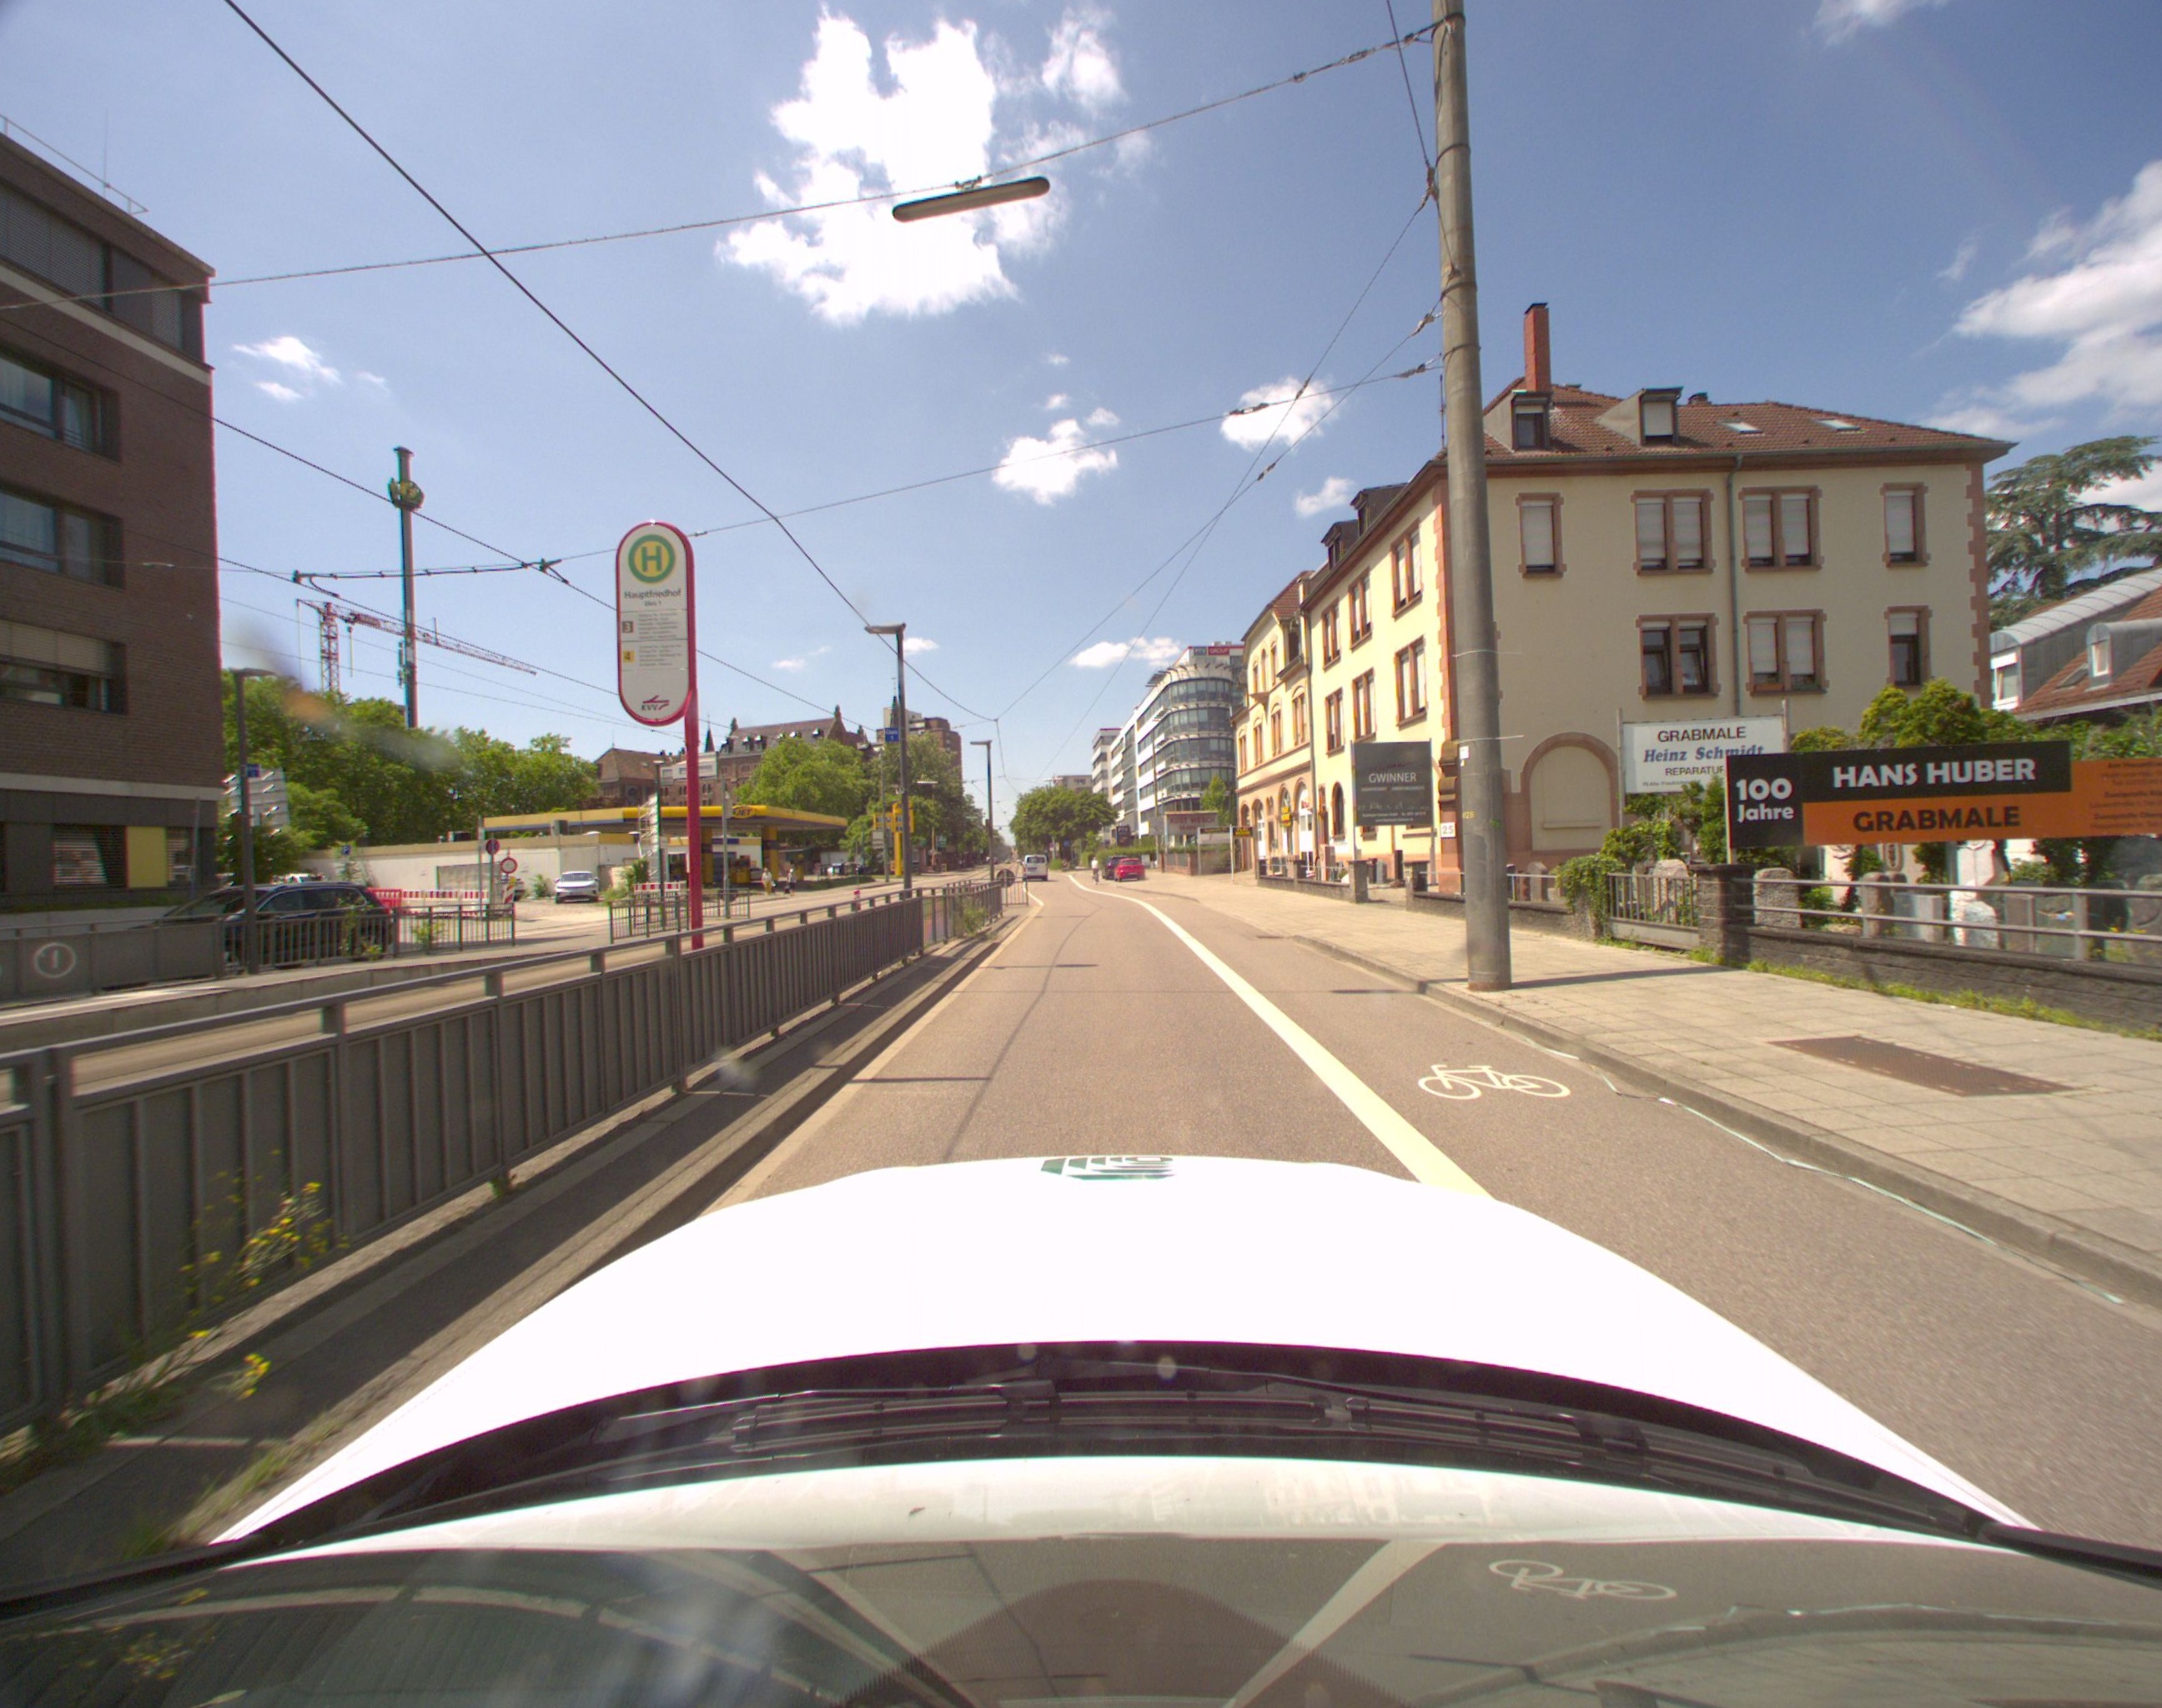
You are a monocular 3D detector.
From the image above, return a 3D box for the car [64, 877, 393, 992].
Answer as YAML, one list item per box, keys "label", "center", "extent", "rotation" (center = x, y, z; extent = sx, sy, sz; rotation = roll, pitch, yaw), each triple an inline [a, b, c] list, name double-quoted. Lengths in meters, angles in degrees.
- label: "car"
  center: [-14.964, 1.311, 14.661]
  extent: [1.830, 1.627, 3.773]
  rotation: [-4, -1, 1]

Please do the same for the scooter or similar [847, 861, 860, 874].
- label: "scooter or similar"
  center: [-26.014, 1.533, 93.112]
  extent: [1.168, 1.466, 1.059]
  rotation: [-2, -1, 1]

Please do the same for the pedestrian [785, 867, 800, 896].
- label: "pedestrian"
  center: [-16.982, 1.623, 47.943]
  extent: [0.578, 1.671, 0.668]
  rotation: [-2, 0, 4]

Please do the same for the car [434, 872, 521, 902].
- label: "car"
  center: [-32.901, 1.815, 44.425]
  extent: [3.972, 1.463, 1.767]
  rotation: [-2, 0, 17]

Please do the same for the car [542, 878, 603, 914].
- label: "car"
  center: [-25.924, 2.155, 41.471]
  extent: [2.068, 1.567, 3.953]
  rotation: [-3, -1, -39]

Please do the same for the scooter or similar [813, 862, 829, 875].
- label: "scooter or similar"
  center: [-29.997, 1.661, 93.944]
  extent: [1.307, 1.466, 1.061]
  rotation: [-3, 0, 7]

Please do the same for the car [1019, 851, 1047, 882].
- label: "car"
  center: [-3.455, 0.881, 58.146]
  extent: [1.750, 2.013, 3.993]
  rotation: [-3, 1, -5]

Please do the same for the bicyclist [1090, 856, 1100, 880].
- label: "bicyclist"
  center: [0.847, 0.834, 49.419]
  extent: [0.589, 1.397, 0.841]
  rotation: [-2, 0, -1]

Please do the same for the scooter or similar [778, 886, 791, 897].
- label: "scooter or similar"
  center: [-17.584, 2.212, 48.327]
  extent: [0.474, 0.581, 0.632]
  rotation: [-2, 0, 6]

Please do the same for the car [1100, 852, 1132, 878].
- label: "car"
  center: [2.502, 0.777, 59.150]
  extent: [1.858, 1.687, 4.997]
  rotation: [-3, 0, -2]

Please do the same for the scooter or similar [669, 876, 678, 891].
- label: "scooter or similar"
  center: [-26.088, 1.900, 52.102]
  extent: [0.404, 0.930, 0.327]
  rotation: [-2, 0, -2]

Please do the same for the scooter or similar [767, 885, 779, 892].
- label: "scooter or similar"
  center: [-18.464, 2.085, 48.843]
  extent: [0.471, 0.394, 0.673]
  rotation: [-2, 0, 3]

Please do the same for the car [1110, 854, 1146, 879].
- label: "car"
  center: [3.025, 0.804, 52.832]
  extent: [1.709, 1.452, 4.066]
  rotation: [-4, 0, -4]

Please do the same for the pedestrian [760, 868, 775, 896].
- label: "pedestrian"
  center: [-18.530, 1.649, 48.130]
  extent: [0.550, 1.658, 0.673]
  rotation: [-2, 0, 3]

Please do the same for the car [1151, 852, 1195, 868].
- label: "car"
  center: [8.674, 0.537, 76.942]
  extent: [3.792, 1.275, 1.553]
  rotation: [-3, 0, -4]

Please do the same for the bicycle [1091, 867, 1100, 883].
- label: "bicycle"
  center: [0.864, 1.252, 49.462]
  extent: [0.464, 0.887, 2.047]
  rotation: [-2, 0, -1]

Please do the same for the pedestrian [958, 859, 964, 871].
- label: "pedestrian"
  center: [-21.870, 2.006, 148.773]
  extent: [0.863, 2.013, 0.645]
  rotation: [-4, -1, -7]

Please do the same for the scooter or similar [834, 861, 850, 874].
- label: "scooter or similar"
  center: [-27.409, 1.564, 93.436]
  extent: [1.307, 1.466, 1.061]
  rotation: [-2, -1, 7]
